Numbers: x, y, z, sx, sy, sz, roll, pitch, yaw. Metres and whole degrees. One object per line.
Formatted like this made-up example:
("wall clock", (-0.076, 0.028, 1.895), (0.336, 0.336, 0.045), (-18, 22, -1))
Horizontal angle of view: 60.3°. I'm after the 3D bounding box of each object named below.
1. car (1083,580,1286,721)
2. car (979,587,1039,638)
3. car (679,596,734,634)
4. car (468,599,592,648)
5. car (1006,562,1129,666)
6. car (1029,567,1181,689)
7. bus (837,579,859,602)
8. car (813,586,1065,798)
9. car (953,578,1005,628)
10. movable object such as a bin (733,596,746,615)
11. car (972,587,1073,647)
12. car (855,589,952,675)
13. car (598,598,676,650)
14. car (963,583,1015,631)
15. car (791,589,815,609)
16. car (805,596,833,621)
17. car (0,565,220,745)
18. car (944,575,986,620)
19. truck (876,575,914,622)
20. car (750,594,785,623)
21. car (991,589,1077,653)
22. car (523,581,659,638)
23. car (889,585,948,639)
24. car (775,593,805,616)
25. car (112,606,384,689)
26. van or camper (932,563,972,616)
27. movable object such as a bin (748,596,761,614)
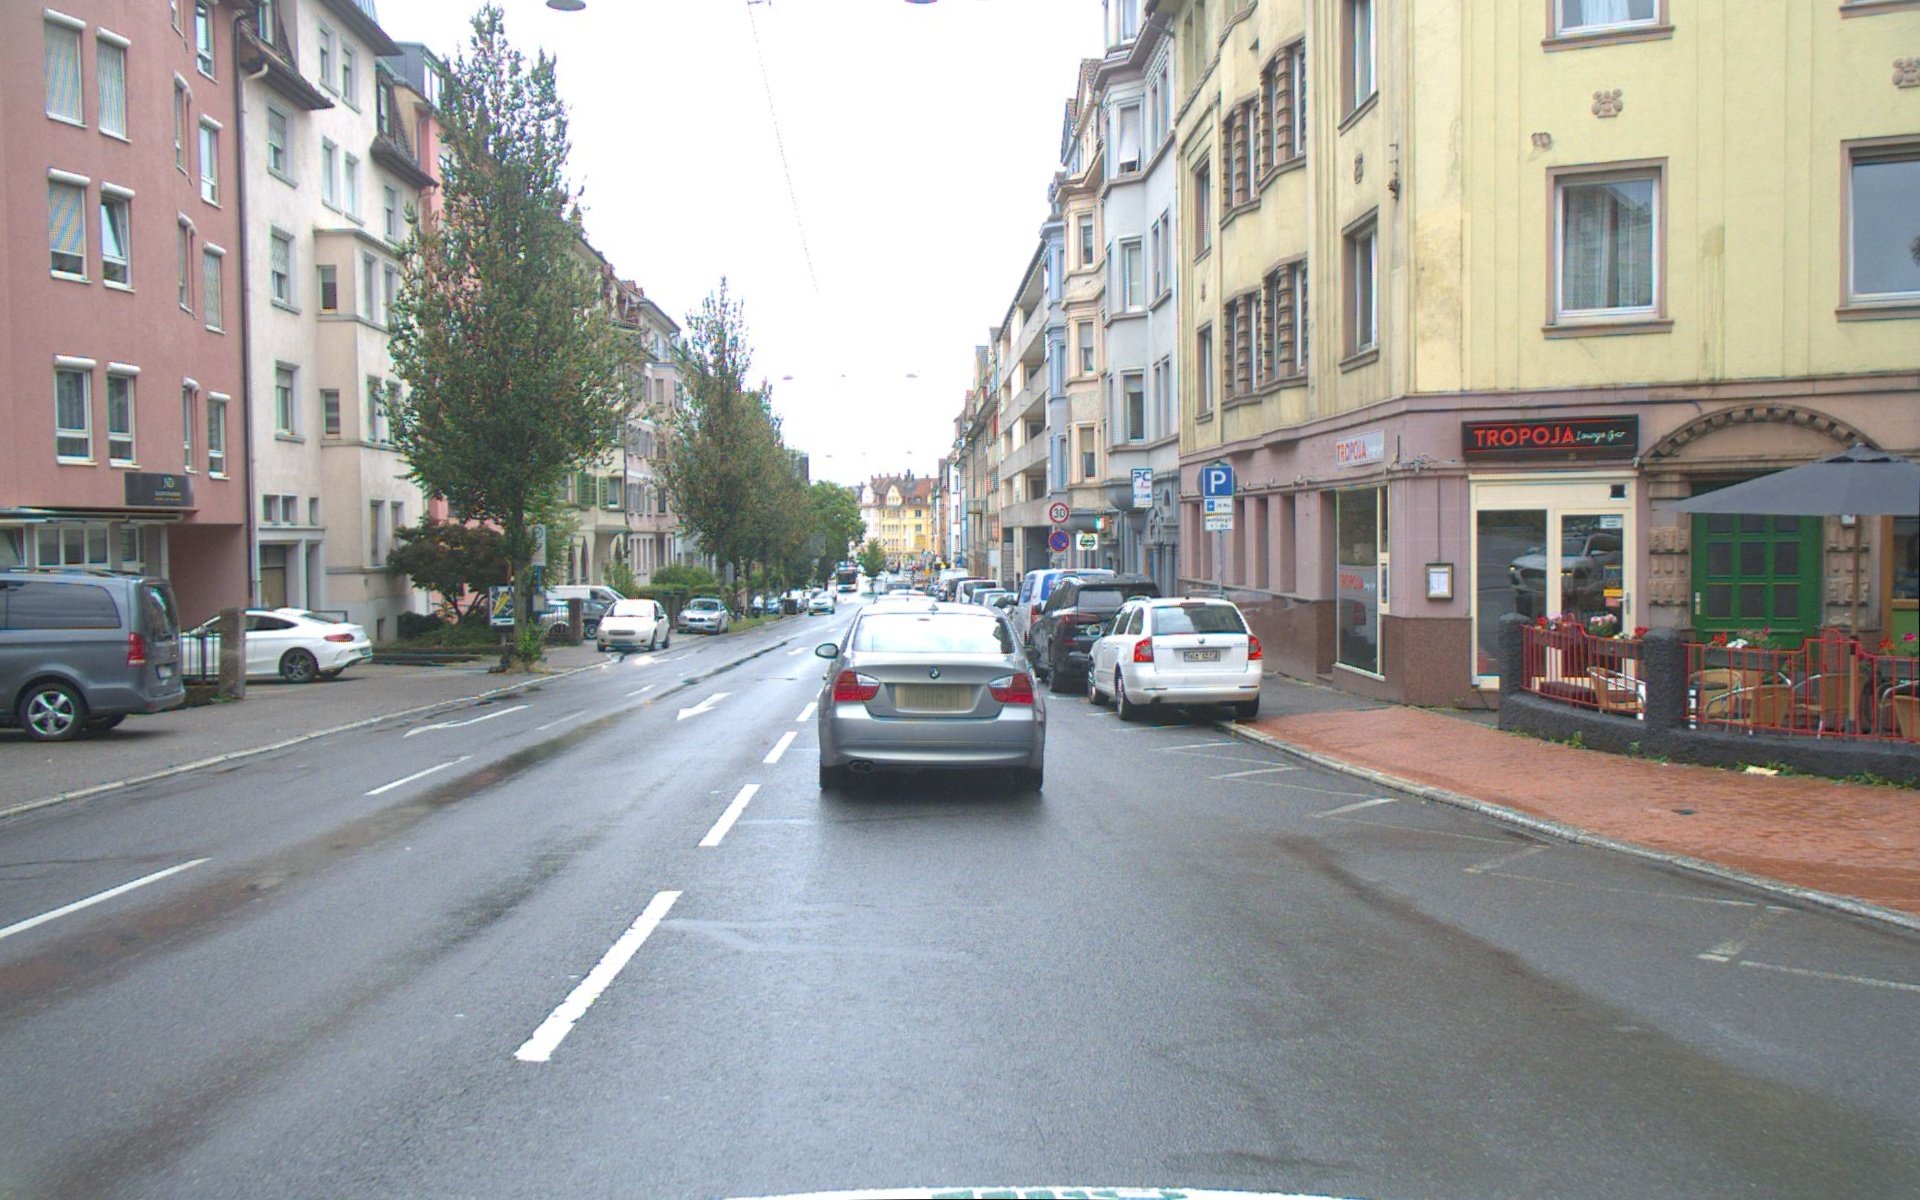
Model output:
("car", (2.773, 0.585, 21.390), (1.763, 1.592, 4.490), (1, 0, -3))
("car", (1.475, 0.374, 50.879), (1.579, 1.500, 4.014), (1, 0, -2))
("car", (-10.484, 0.615, 68.607), (1.691, 1.510, 3.987), (2, -1, -1))
("car", (-14.277, 0.768, 55.067), (3.811, 1.483, 1.788), (-2, 0, -10))
("car", (2.038, 0.255, 32.739), (1.881, 1.859, 5.007), (-2, 0, -2))
("car", (2.239, 0.415, 26.737), (1.841, 1.762, 4.674), (1, 0, -2))
("bus", (-15.328, -1.280, 226.339), (2.615, 3.077, 7.667), (-2, 0, -2))
("car", (-0.200, 0.632, 13.391), (1.733, 1.453, 3.739), (1, 0, -2))
("car", (0.789, 0.132, 71.044), (1.942, 2.042, 4.623), (-2, 0, -2))
("movable object such as a bin", (-11.279, 0.292, 84.657), (0.565, 0.928, 0.637), (-2, 0, -16))
("car", (1.603, 0.429, 44.203), (1.840, 1.493, 4.766), (1, 0, -8))
("car", (-1.001, 0.561, 30.434), (1.647, 1.453, 3.740), (1, 0, -1))
("car", (-9.539, 0.685, 49.055), (1.588, 1.471, 4.004), (-1, 0, -1))
("car", (1.100, 0.267, 63.777), (1.691, 1.699, 4.286), (-3, 0, -2))
("car", (-13.159, -0.085, 139.117), (1.656, 1.550, 3.735), (-2, 0, -1))
("car", (-9.325, 0.567, 109.475), (1.603, 1.534, 3.753), (-3, 0, -2))
("car", (-11.266, 0.578, 19.116), (4.592, 1.972, 1.858), (1, 0, -12))
("car", (0.243, -0.124, 85.730), (1.942, 2.203, 4.748), (-2, 0, -2))
("truck", (-3.564, -0.054, 90.236), (1.991, 2.455, 4.824), (1, -1, -3))
("car", (-11.252, 0.490, 96.755), (1.732, 1.621, 3.997), (-2, 0, -3))
("car", (1.680, 0.464, 38.699), (1.644, 1.399, 4.274), (0, 0, -2))
("car", (-14.084, 0.362, 63.370), (4.732, 2.008, 2.047), (-1, 0, -3))
("car", (-1.283, 0.361, 49.510), (1.663, 1.509, 3.791), (1, 0, -3))
("car", (-12.170, 0.340, 118.814), (1.790, 1.550, 3.735), (-2, 0, -1))
("car", (-13.760, 0.894, 32.152), (4.457, 1.425, 1.767), (-2, 0, -3))
("van or camper", (-0.422, -0.590, 96.221), (1.991, 2.919, 6.886), (2, 0, 1))
("movable object such as a bin", (-10.553, 0.255, 84.841), (0.565, 0.928, 0.637), (-2, 0, -16))
